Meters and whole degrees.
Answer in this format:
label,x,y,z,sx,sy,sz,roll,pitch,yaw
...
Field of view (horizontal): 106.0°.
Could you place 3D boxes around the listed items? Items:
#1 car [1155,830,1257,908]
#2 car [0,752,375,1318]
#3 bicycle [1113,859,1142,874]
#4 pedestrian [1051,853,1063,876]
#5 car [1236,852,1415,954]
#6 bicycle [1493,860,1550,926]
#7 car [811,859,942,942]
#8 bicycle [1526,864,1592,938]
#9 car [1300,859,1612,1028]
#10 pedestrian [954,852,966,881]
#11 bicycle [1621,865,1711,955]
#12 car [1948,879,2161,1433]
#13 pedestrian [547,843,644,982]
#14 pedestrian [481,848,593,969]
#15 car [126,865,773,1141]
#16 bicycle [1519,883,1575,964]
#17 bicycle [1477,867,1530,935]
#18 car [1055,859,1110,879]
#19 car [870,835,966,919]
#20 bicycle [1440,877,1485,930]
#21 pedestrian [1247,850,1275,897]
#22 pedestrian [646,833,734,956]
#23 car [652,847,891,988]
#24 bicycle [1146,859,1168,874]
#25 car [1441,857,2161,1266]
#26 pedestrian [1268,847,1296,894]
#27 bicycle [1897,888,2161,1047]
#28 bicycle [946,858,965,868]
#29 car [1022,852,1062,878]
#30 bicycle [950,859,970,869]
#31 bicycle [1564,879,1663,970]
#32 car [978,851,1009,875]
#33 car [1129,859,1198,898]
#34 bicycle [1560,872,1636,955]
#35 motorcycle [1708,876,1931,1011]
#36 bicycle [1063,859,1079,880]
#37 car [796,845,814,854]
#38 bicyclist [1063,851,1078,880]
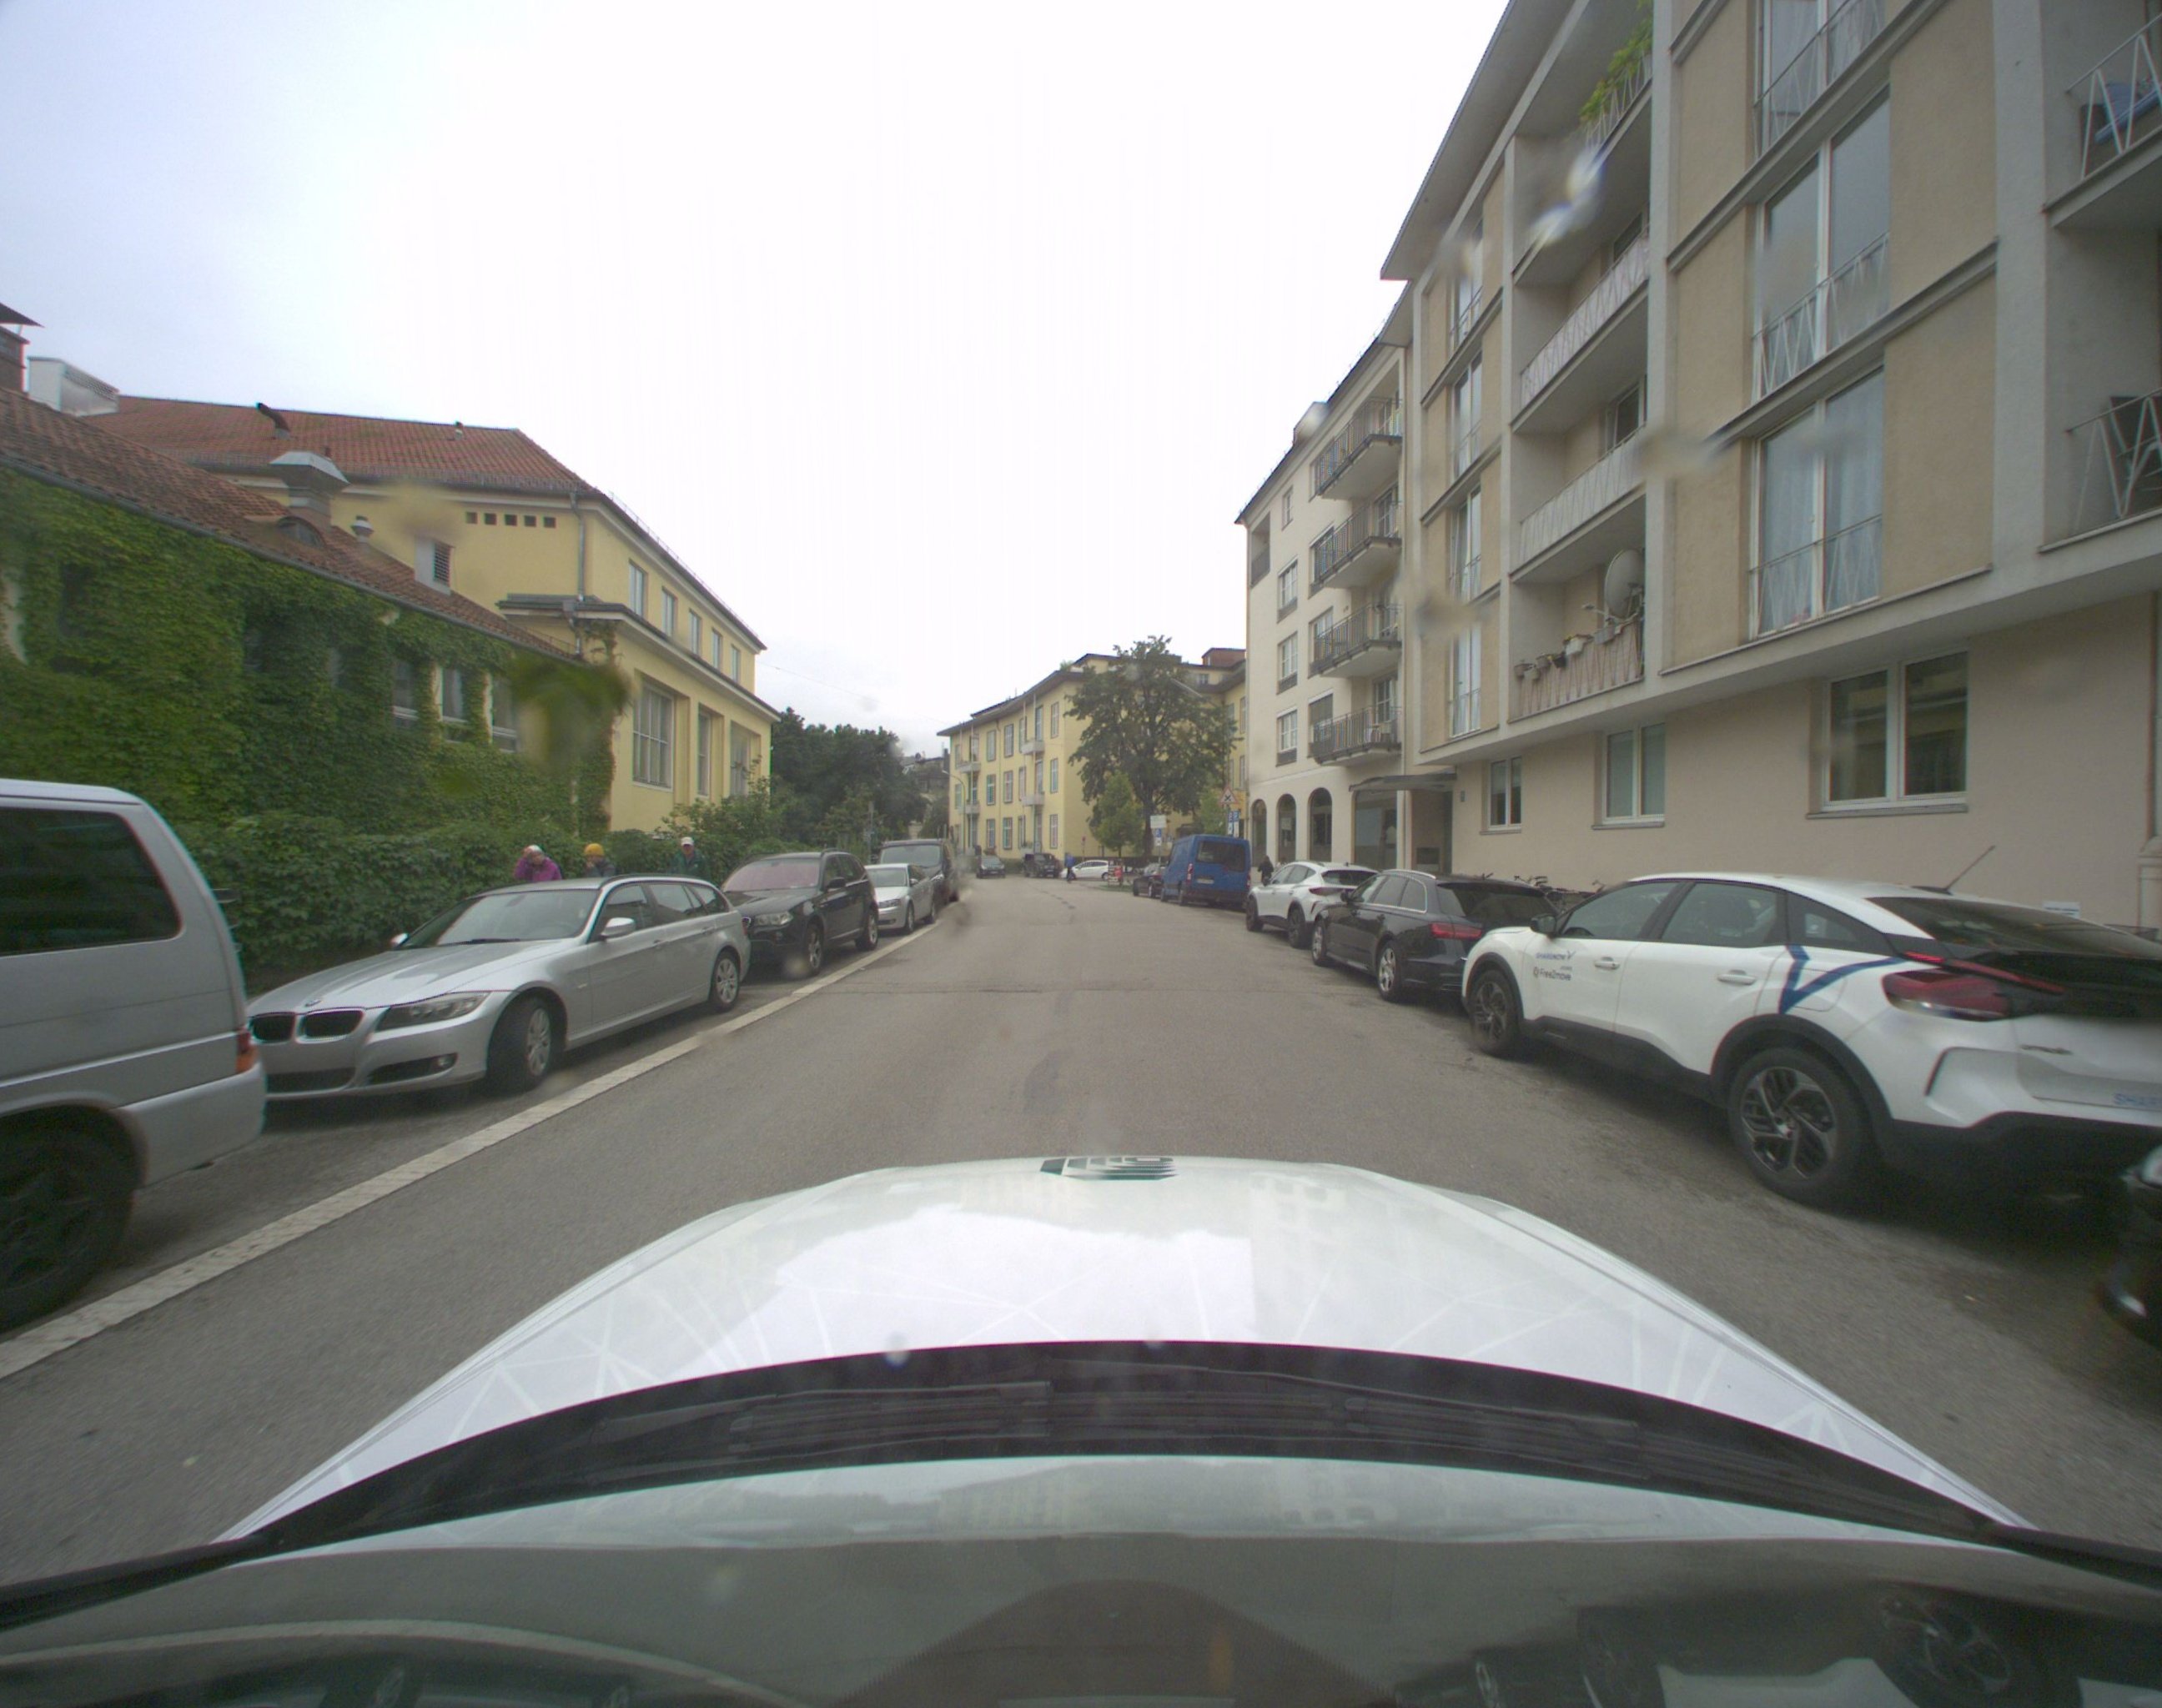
label,x,y,z,sx,sy,sz,roll,pitch,yaw
car,4.044,0.544,27.286,2.105,2.214,5.019,5,-2,-5
car,-4.437,0.645,1.447,1.886,1.798,4.882,-4,0,1
bicycle,3.644,0.973,63.817,2.155,1.115,0.642,0,0,9
pedestrian,-1.905,0.810,64.194,0.847,1.757,0.952,-1,0,-5
car,4.464,0.816,15.625,1.772,1.522,4.297,4,0,-4
bicycle,8.552,0.725,15.852,0.444,1.202,1.397,-3,-1,7
car,-4.176,0.888,17.273,1.702,1.365,4.000,-4,1,-1
bicycle,8.409,0.800,14.379,0.444,1.202,1.397,-3,-1,7
car,4.215,0.867,10.137,1.765,1.429,4.695,5,0,2
pedestrian,-7.264,0.749,48.918,0.544,1.697,0.662,-2,0,-19
bicycle,8.491,0.777,11.874,0.391,1.202,1.344,-3,-1,6
car,3.613,0.832,0.322,1.820,1.381,4.493,2,1,2
pedestrian,-6.014,0.690,10.129,0.680,1.652,0.872,0,0,0
pedestrian,-6.978,0.667,10.495,0.839,1.494,0.873,0,0,2
car,-4.470,0.885,6.907,1.797,1.377,4.492,-5,0,2
bicycle,7.732,1.122,13.573,0.394,1.202,1.573,-4,-1,17
bicycle,7.966,0.859,15.393,0.411,1.202,1.285,-3,-1,7
car,0.135,1.058,57.796,3.695,1.406,1.757,0,0,7
car,-4.325,0.542,22.346,1.922,1.979,4.616,-3,1,-4
bicycle,8.665,1.104,18.529,0.367,1.101,1.347,-3,-1,2
pedestrian,6.262,0.670,28.326,0.678,1.628,0.827,-1,-1,-9
pedestrian,-5.756,0.575,12.034,0.839,1.755,0.873,0,0,2
car,-4.248,0.753,12.039,1.696,1.606,4.491,-3,0,0
bicycle,5.964,0.965,63.637,1.681,1.130,0.459,0,0,-9
car,4.082,0.821,5.144,1.697,1.468,4.119,4,0,0
pedestrian,7.014,0.577,28.449,0.710,1.605,0.698,-1,0,-7
bicycle,8.207,0.917,7.125,0.512,1.157,1.601,-1,0,0
bicycle,-13.060,0.981,84.700,1.989,1.029,0.611,1,-1,-45
car,-3.111,0.827,64.036,1.880,1.887,4.587,0,0,-20
bicycle,-12.495,0.995,84.097,1.989,1.029,0.611,1,-1,-45
bicycle,7.679,0.983,11.812,0.445,1.202,1.369,-3,-1,-1
car,-6.683,0.649,61.845,1.995,1.719,4.597,0,0,-11
car,3.317,0.959,33.369,1.714,1.395,3.986,4,-1,-10
bicycle,8.181,0.911,12.936,0.415,1.202,1.286,-3,-1,5
motorcycle,8.134,0.917,9.118,0.633,1.271,2.041,-1,0,0
bicycle,-0.640,0.967,50.875,0.917,1.252,2.322,0,0,1
car,-49.153,-0.725,145.029,2.007,1.600,4.211,0,0,-32
bicyclist,-0.632,0.701,50.888,0.911,1.764,1.215,0,0,0
